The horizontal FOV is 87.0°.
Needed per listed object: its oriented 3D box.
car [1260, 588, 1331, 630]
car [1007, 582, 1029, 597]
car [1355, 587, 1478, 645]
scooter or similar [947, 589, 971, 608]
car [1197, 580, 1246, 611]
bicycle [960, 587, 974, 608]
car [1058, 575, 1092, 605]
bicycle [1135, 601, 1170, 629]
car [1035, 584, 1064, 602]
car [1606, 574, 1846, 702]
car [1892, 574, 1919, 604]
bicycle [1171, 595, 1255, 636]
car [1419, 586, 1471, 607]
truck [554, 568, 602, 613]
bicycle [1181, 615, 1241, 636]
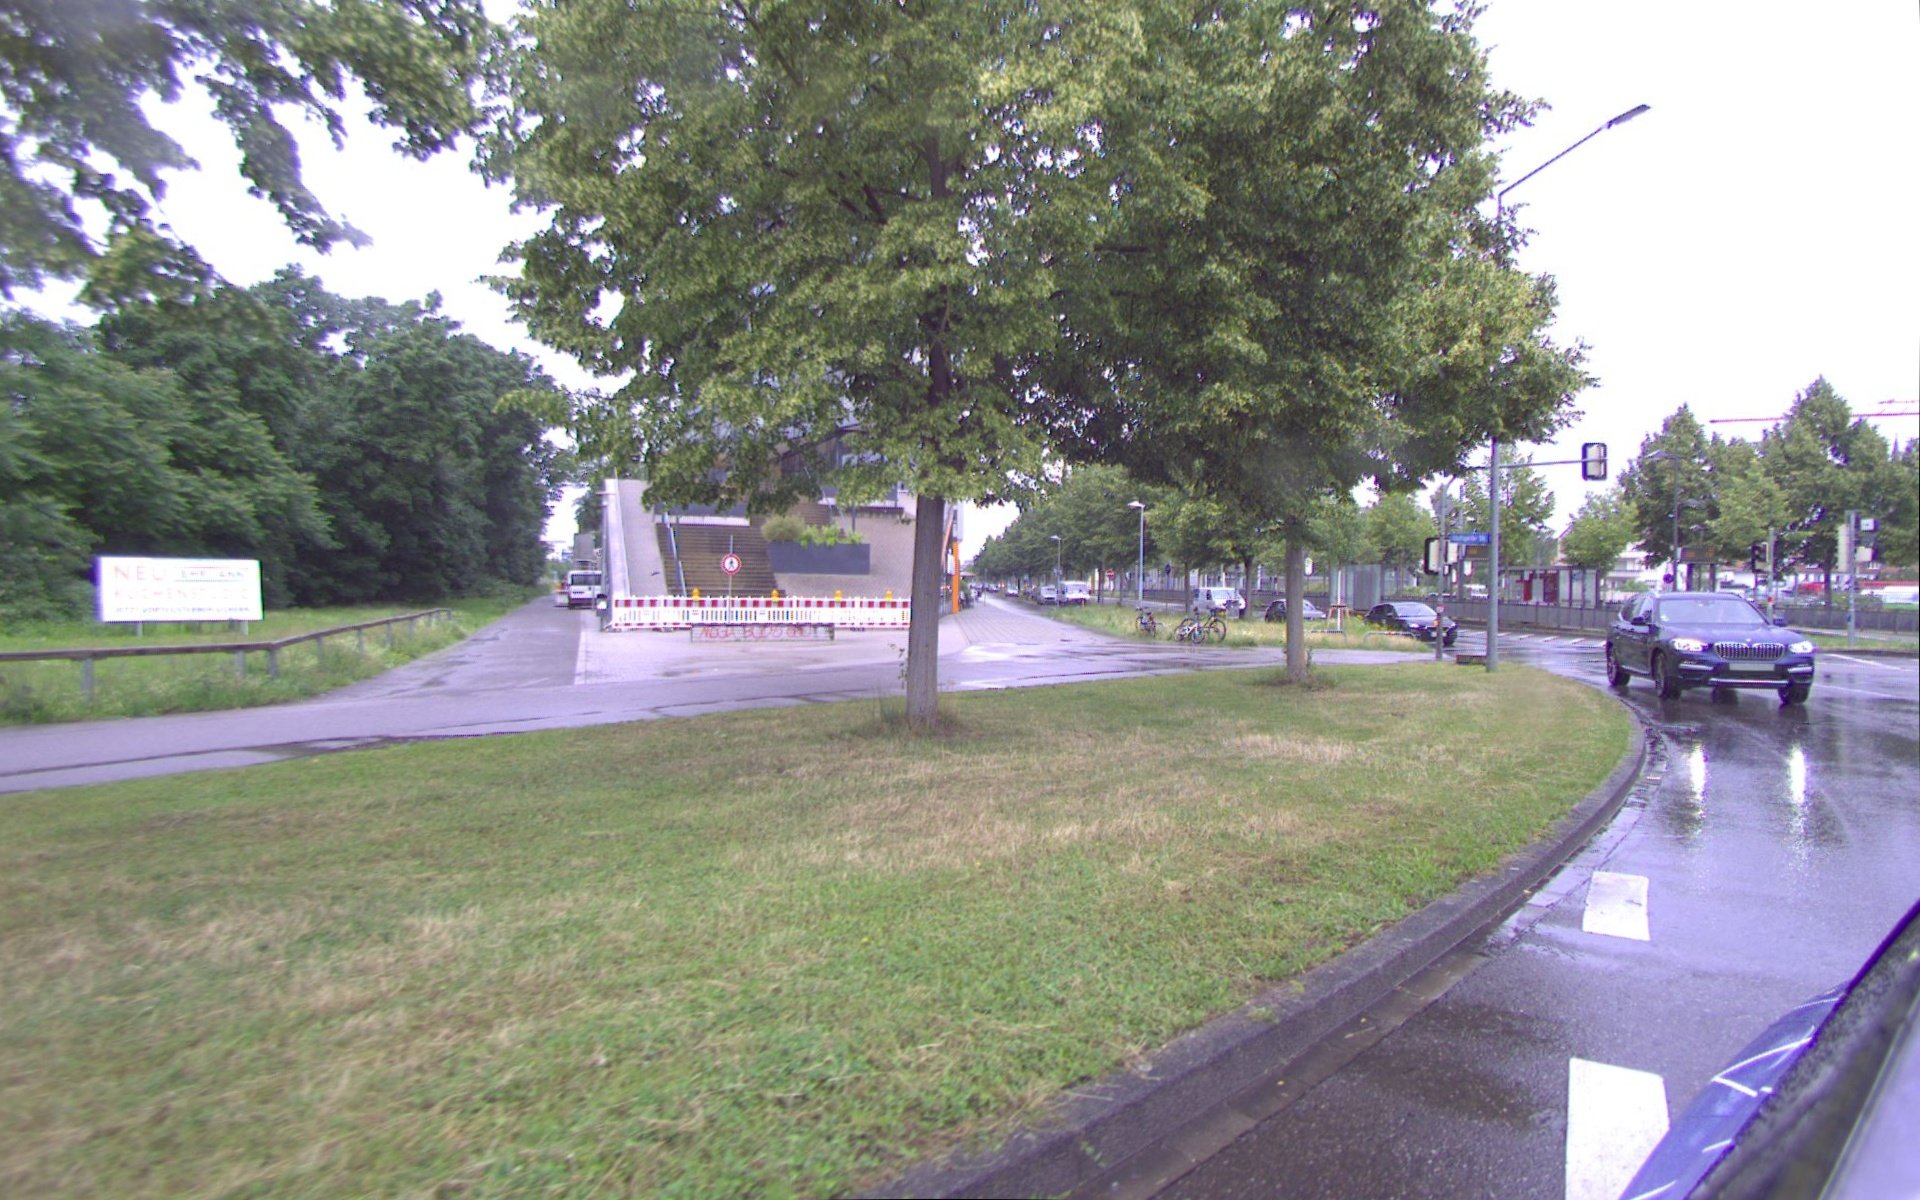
[{"bbox_3d":[14.886,0.366,45.155,1.755,1.668,4.001,-2,1,0],"label":"car"},{"bbox_3d":[6.791,-1.238,118.888,1.960,1.571,4.005,-2,1,-5],"label":"car"},{"bbox_3d":[15.603,0.490,34.871,1.879,1.768,4.388,-2,1,-5],"label":"car"},{"bbox_3d":[-0.049,-0.086,64.434,0.801,1.112,2.600,-2,1,17],"label":"scooter or similar"},{"bbox_3d":[15.147,-0.271,58.790,1.755,1.668,4.001,-2,1,0],"label":"car"},{"bbox_3d":[0.487,-0.181,68.205,0.866,1.364,2.697,-2,1,0],"label":"bicycle"},{"bbox_3d":[9.108,-0.791,80.444,2.046,2.229,5.098,-2,1,0],"label":"car"},{"bbox_3d":[6.292,0.487,33.229,0.624,0.857,2.165,0,0,-3],"label":"bicycle"},{"bbox_3d":[8.568,-0.694,97.140,1.960,1.571,4.005,-2,1,-5],"label":"car"},{"bbox_3d":[12.204,0.501,16.491,1.894,1.768,4.354,-2,1,21],"label":"car"},{"bbox_3d":[83.647,-0.902,85.542,2.310,2.507,7.646,-2,1,-4],"label":"car"},{"bbox_3d":[7.638,0.448,30.648,2.515,1.204,0.545,0,0,42],"label":"bicycle"},{"bbox_3d":[37.953,-0.308,79.291,1.816,1.504,4.229,-2,1,-3],"label":"car"},{"bbox_3d":[-23.745,-0.604,62.684,2.298,2.487,10.800,-2,1,-23],"label":"truck"},{"bbox_3d":[7.513,0.757,30.332,1.796,0.566,0.316,0,0,42],"label":"bicycle"}]
